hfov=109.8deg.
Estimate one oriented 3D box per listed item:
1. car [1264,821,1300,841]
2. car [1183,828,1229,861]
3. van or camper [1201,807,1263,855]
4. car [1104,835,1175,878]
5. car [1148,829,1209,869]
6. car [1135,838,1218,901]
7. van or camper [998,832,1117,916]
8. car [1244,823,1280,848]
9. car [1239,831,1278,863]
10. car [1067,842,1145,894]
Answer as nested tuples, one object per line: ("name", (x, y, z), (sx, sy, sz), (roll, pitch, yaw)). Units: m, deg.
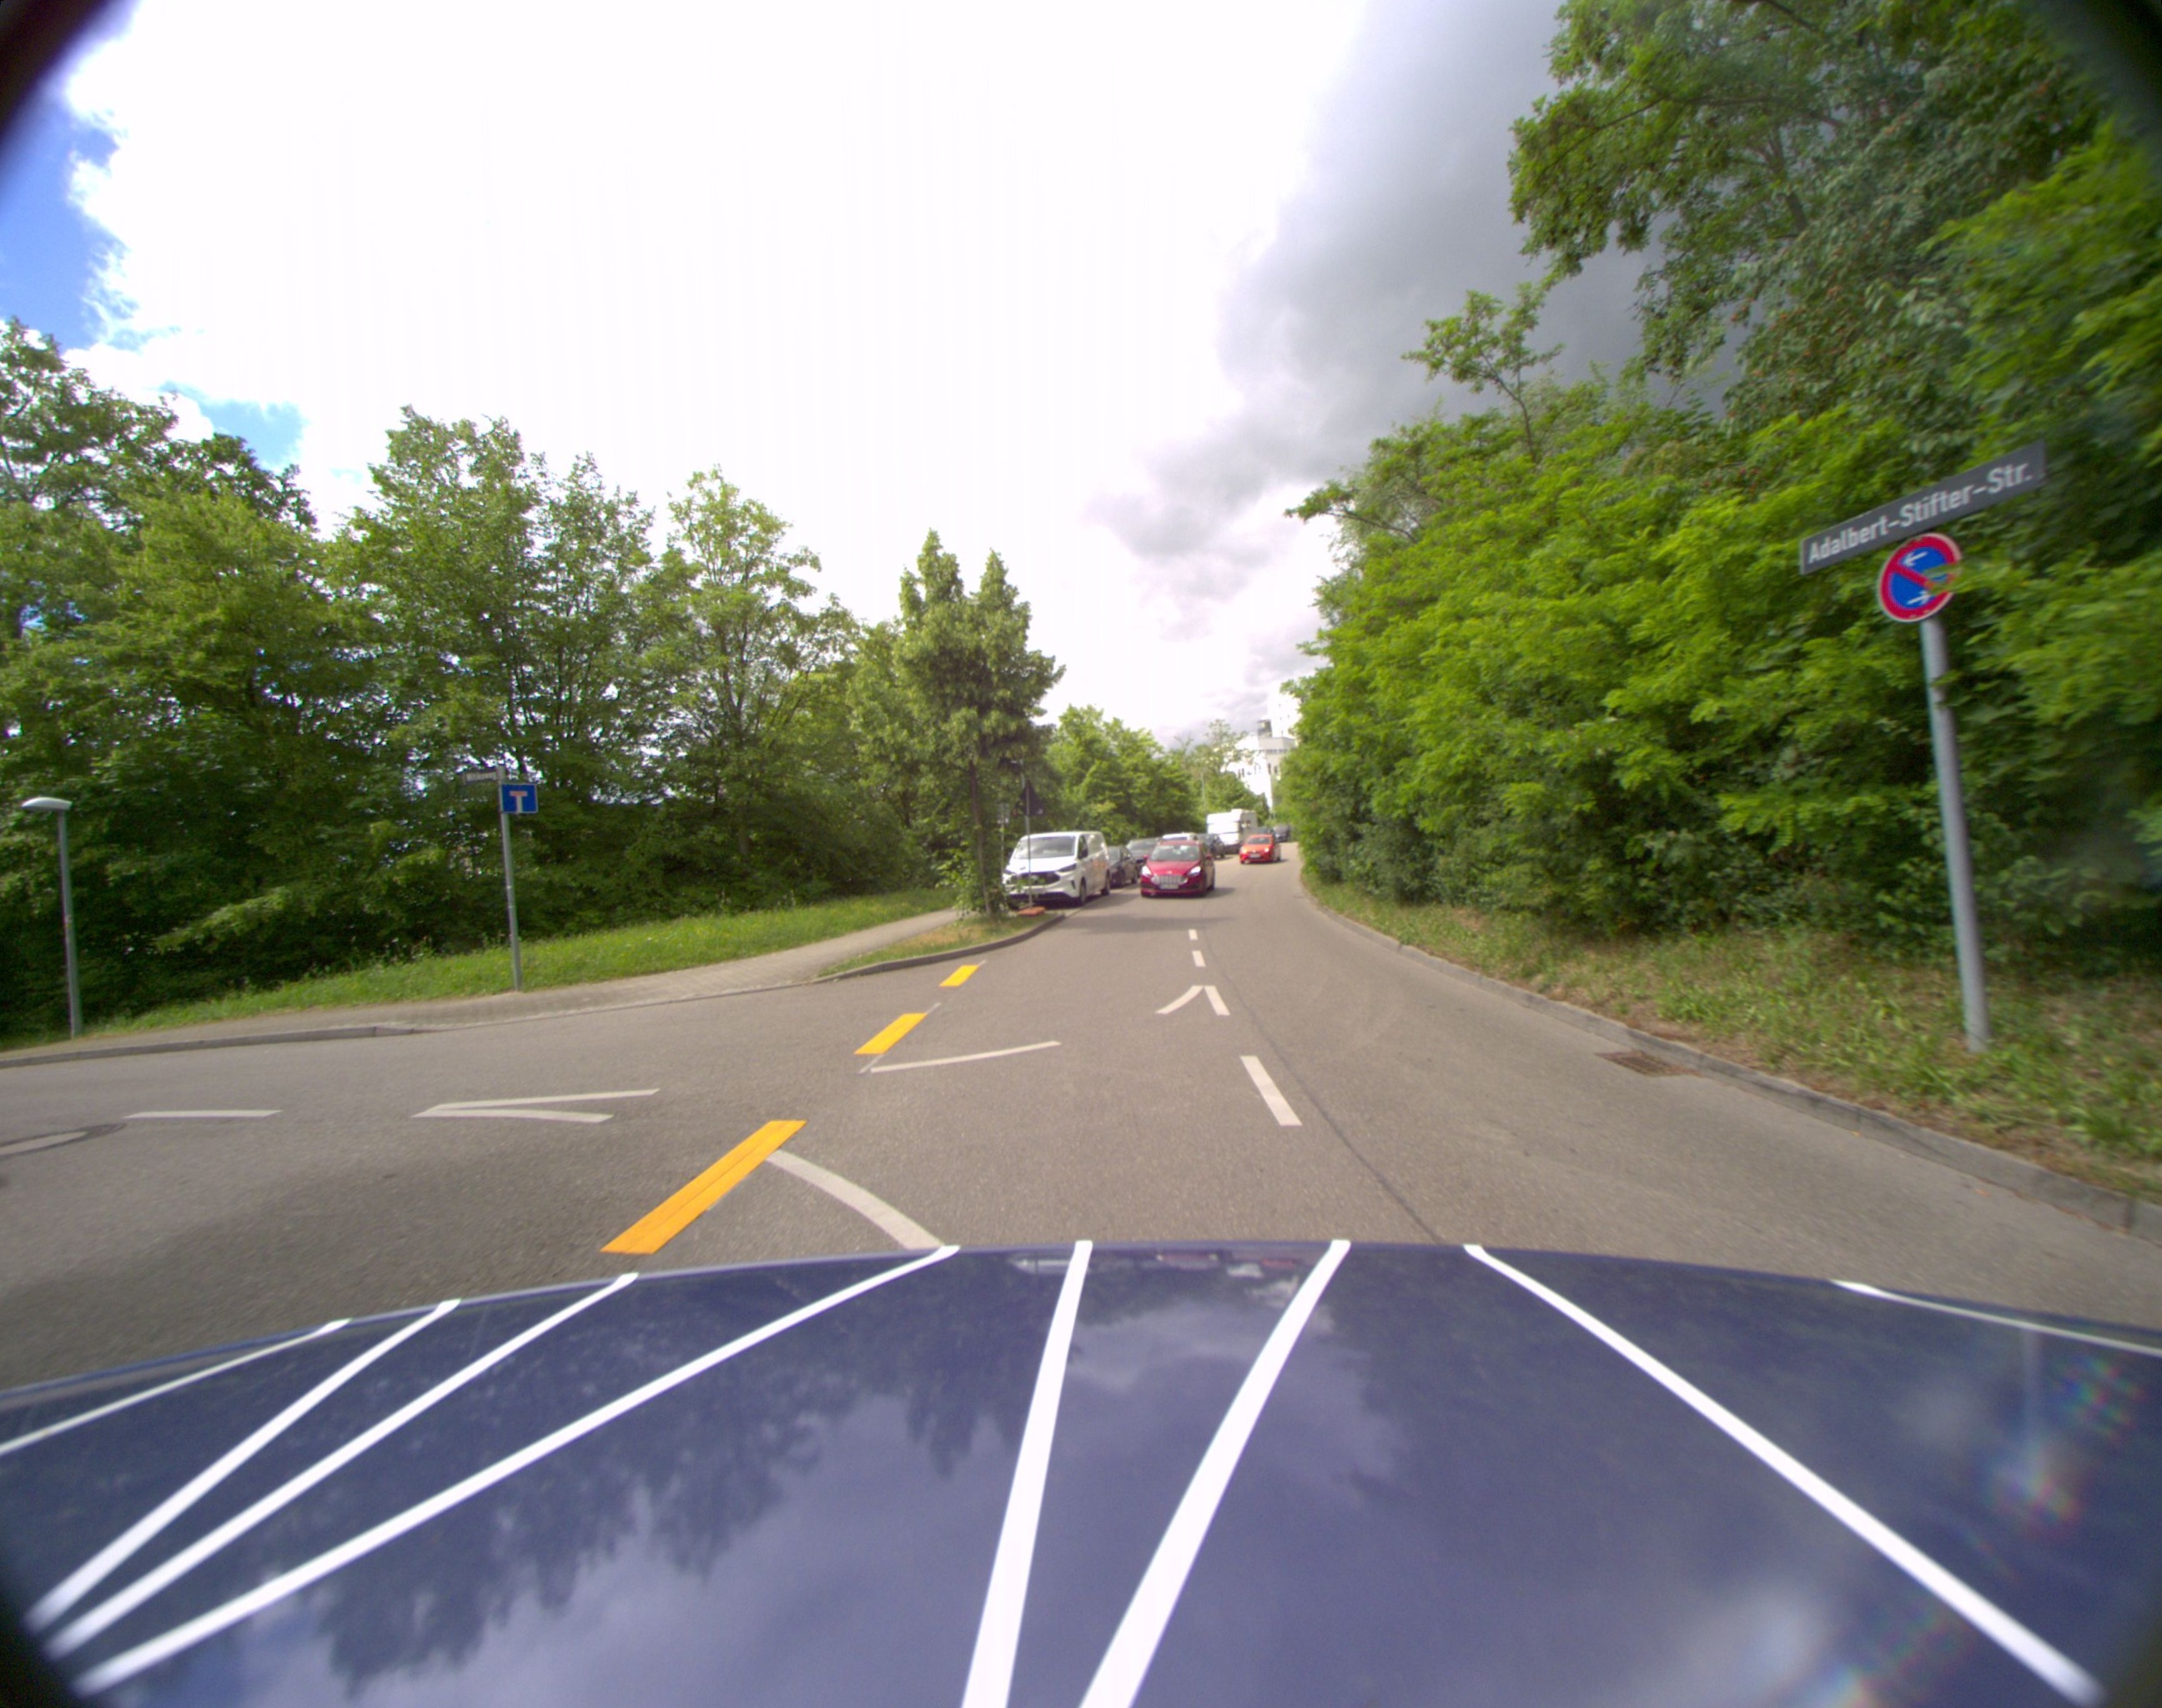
("car", (16.888, -1.943, 63.744), (1.777, 1.426, 4.339), (-3, 3, 31))
("car", (7.494, -0.594, 45.288), (1.713, 1.583, 4.004), (-5, 2, 22))
("van or camper", (10.324, -1.637, 51.491), (2.335, 2.853, 6.157), (-5, 2, 26))
("car", (2.611, 0.056, 32.919), (1.996, 1.617, 4.282), (-2, 2, 19))
("car", (5.091, -0.303, 39.113), (1.874, 1.679, 4.584), (-5, 1, 22))
("car", (2.954, 0.382, 22.852), (1.810, 1.601, 3.725), (1, 4, 18))
("van or camper", (-0.455, 0.423, 20.945), (1.997, 1.909, 5.269), (-3, 1, 12))
("car", (13.843, -1.435, 57.923), (1.730, 1.511, 3.893), (-3, 4, 26))
("car", (9.446, -0.401, 40.400), (1.860, 1.435, 4.001), (-2, 4, 14))
("car", (0.978, 0.446, 27.232), (1.800, 1.456, 4.003), (-4, 2, 15))
